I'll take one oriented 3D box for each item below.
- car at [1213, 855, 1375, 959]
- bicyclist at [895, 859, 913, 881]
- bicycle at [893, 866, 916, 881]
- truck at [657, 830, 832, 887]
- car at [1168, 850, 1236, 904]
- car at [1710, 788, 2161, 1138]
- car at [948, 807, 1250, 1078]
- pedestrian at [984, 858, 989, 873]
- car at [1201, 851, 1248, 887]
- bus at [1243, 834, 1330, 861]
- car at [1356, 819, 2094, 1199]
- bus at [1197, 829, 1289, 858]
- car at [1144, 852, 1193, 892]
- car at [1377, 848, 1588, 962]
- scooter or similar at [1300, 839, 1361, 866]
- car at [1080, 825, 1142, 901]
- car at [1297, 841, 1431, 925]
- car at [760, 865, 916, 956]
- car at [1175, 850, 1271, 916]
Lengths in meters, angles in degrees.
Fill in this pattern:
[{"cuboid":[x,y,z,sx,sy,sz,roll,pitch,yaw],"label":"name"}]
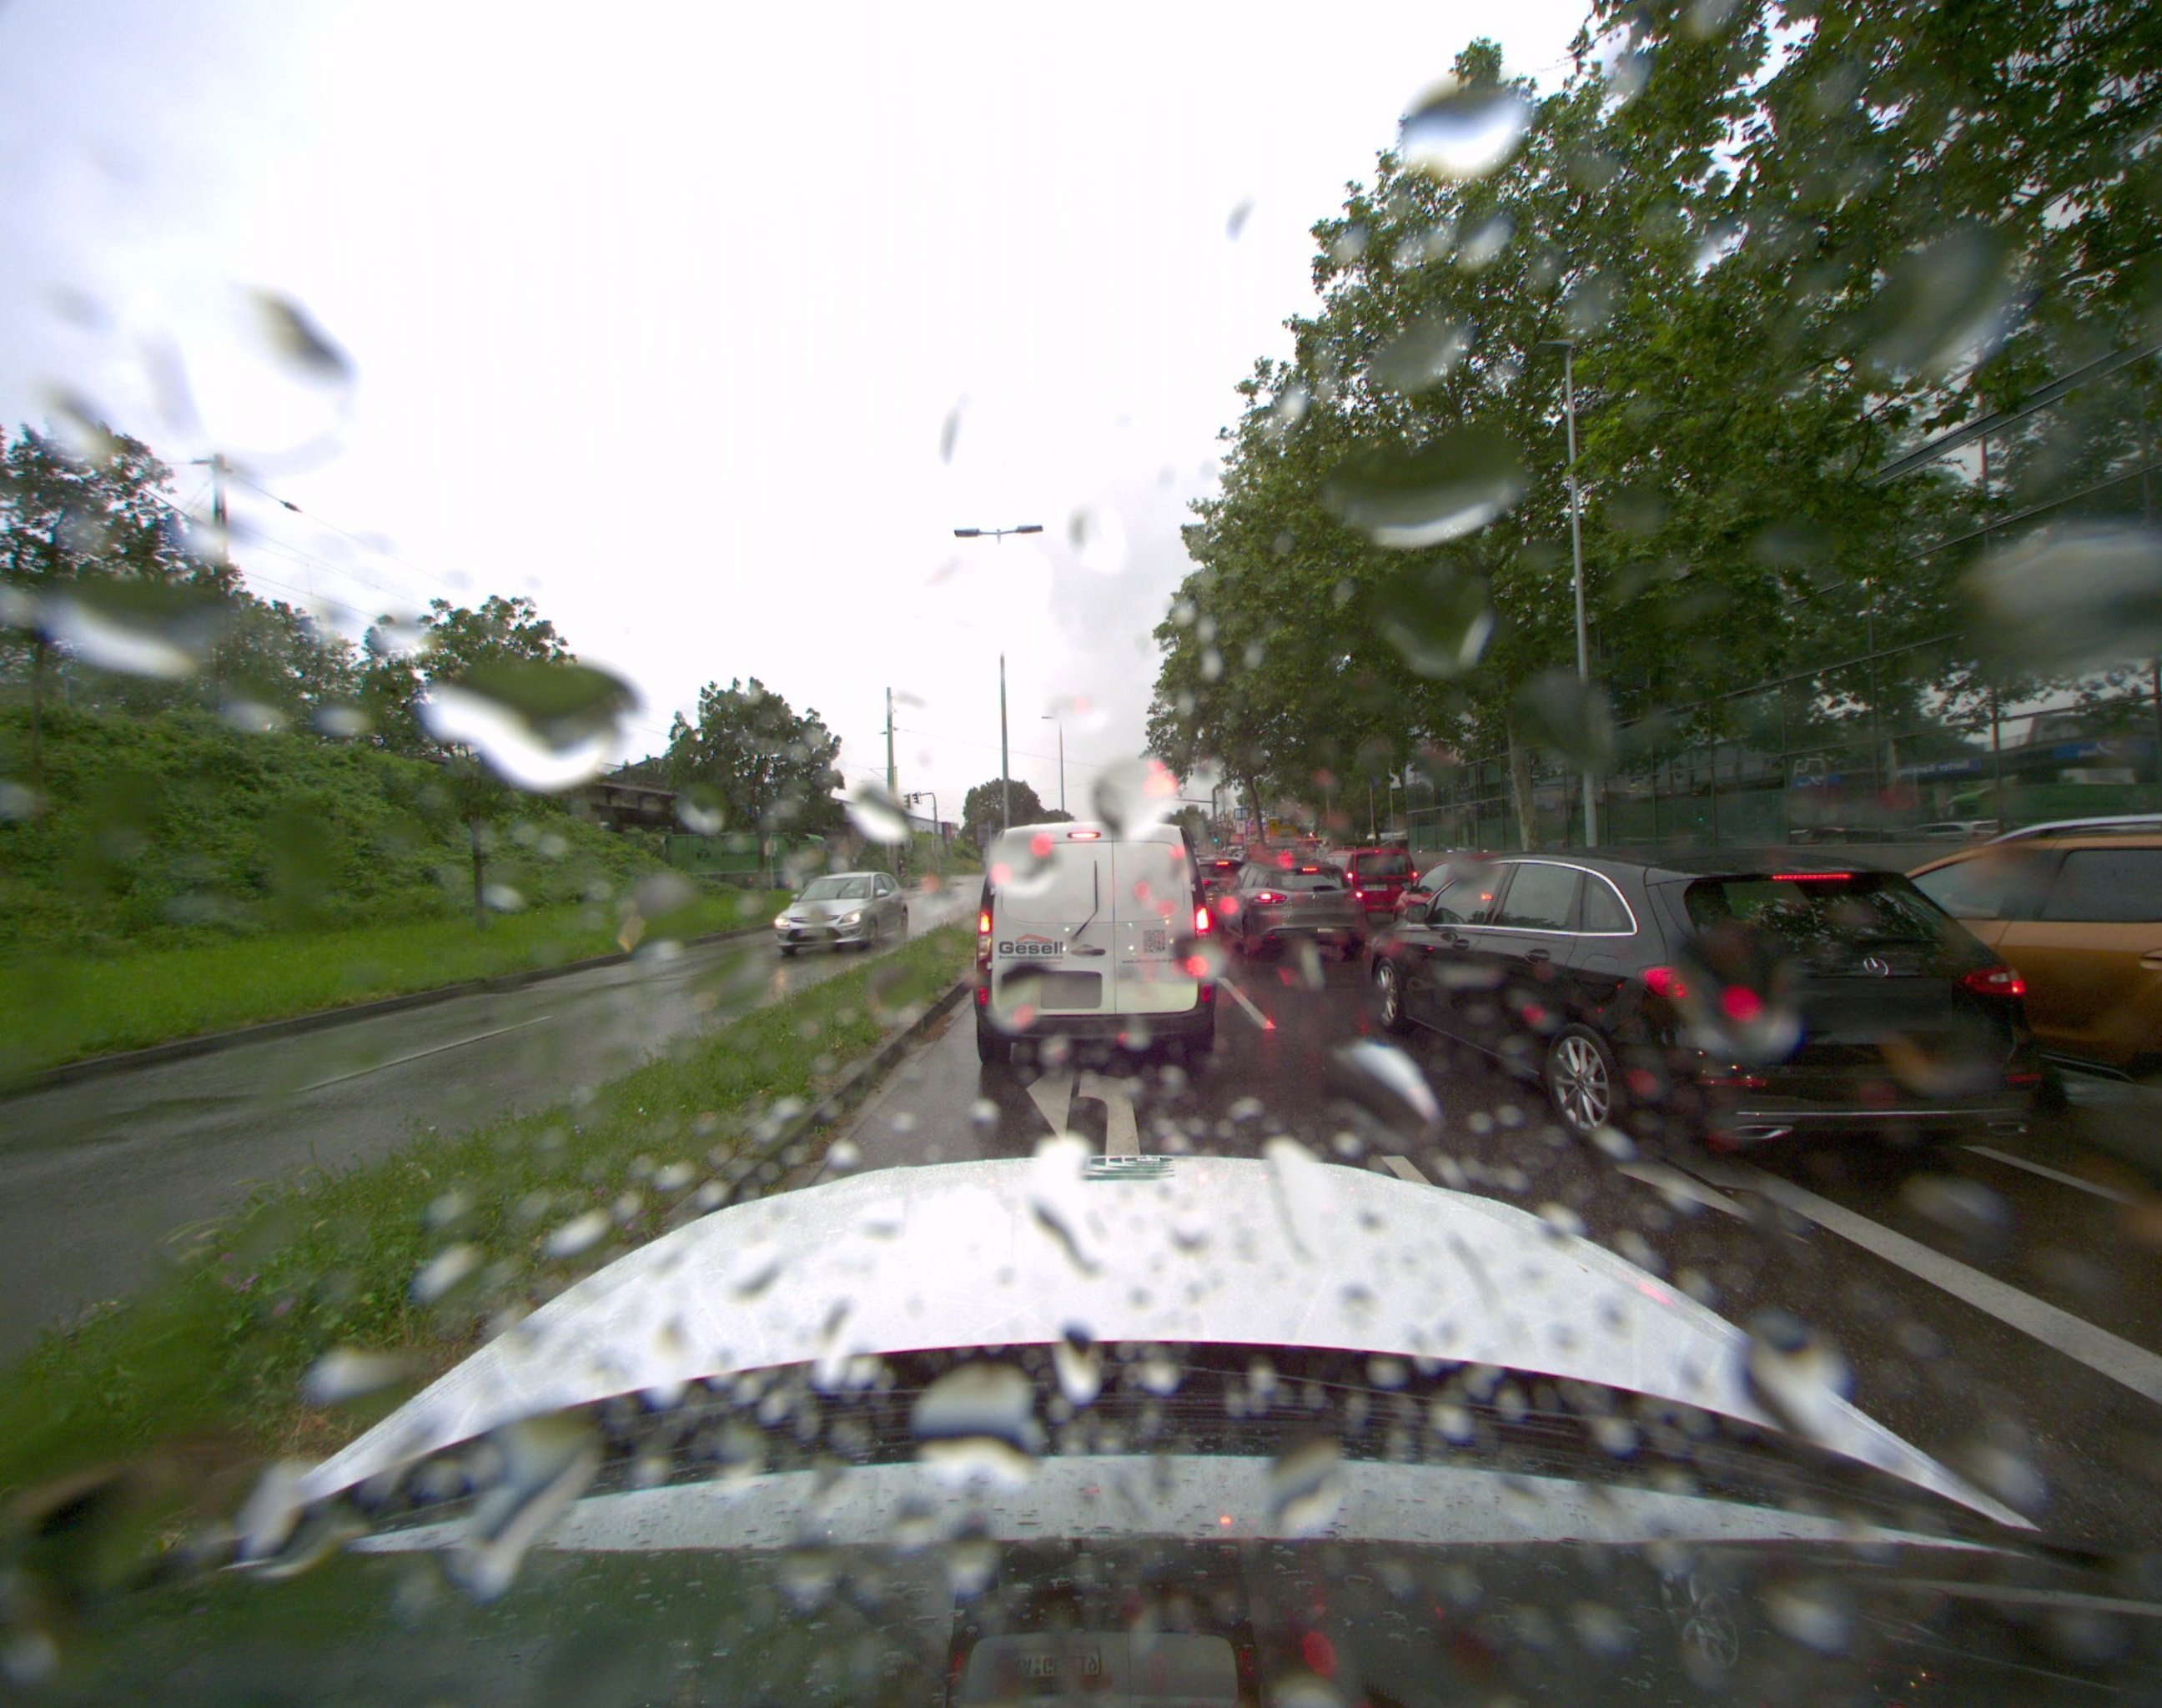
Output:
[{"cuboid":[3.257,0.737,13.165,1.677,1.408,3.844,0,0,1],"label":"car"},{"cuboid":[-12.147,1.083,55.931,1.045,1.450,0.723,-2,0,-23],"label":"bicyclist"},{"cuboid":[-12.166,1.329,56.002,1.045,0.952,2.866,-2,0,-22],"label":"bicycle"},{"cuboid":[-21.389,0.205,52.270,10.105,3.371,2.322,-2,0,-35],"label":"truck"},{"cuboid":[4.059,0.726,27.897,1.847,1.649,3.844,-1,0,2],"label":"car"},{"cuboid":[6.072,0.522,4.769,1.668,1.685,4.149,0,1,2],"label":"car"},{"cuboid":[0.194,0.589,7.768,1.986,1.776,4.587,-1,0,2],"label":"car"},{"cuboid":[-11.247,1.358,96.555,0.541,1.716,0.563,0,-1,-2],"label":"pedestrian"},{"cuboid":[6.937,0.715,39.628,1.702,1.650,3.844,-1,-1,2],"label":"car"},{"cuboid":[29.110,-0.938,115.435,11.973,3.423,2.474,-2,0,-11],"label":"bus"},{"cuboid":[3.377,0.647,5.445,1.741,1.554,4.091,-1,0,1],"label":"car"},{"cuboid":[21.884,-1.365,110.588,11.926,3.423,2.316,-2,0,1],"label":"bus"},{"cuboid":[3.845,0.785,36.417,1.847,1.650,3.844,-1,-1,2],"label":"car"},{"cuboid":[5.893,0.667,12.395,1.563,1.462,3.390,-1,0,1],"label":"car"},{"cuboid":[23.444,-0.089,76.683,1.905,2.446,5.257,-1,0,-39],"label":"scooter or similar"},{"cuboid":[0.998,0.268,27.055,1.847,2.296,3.844,-1,0,2],"label":"car"},{"cuboid":[6.310,0.615,18.674,1.704,1.694,4.273,0,-1,2],"label":"car"},{"cuboid":[-4.764,1.048,16.606,1.810,1.462,4.001,-4,0,1],"label":"car"},{"cuboid":[3.502,0.661,20.678,1.847,1.460,3.844,-1,0,2],"label":"car"}]
